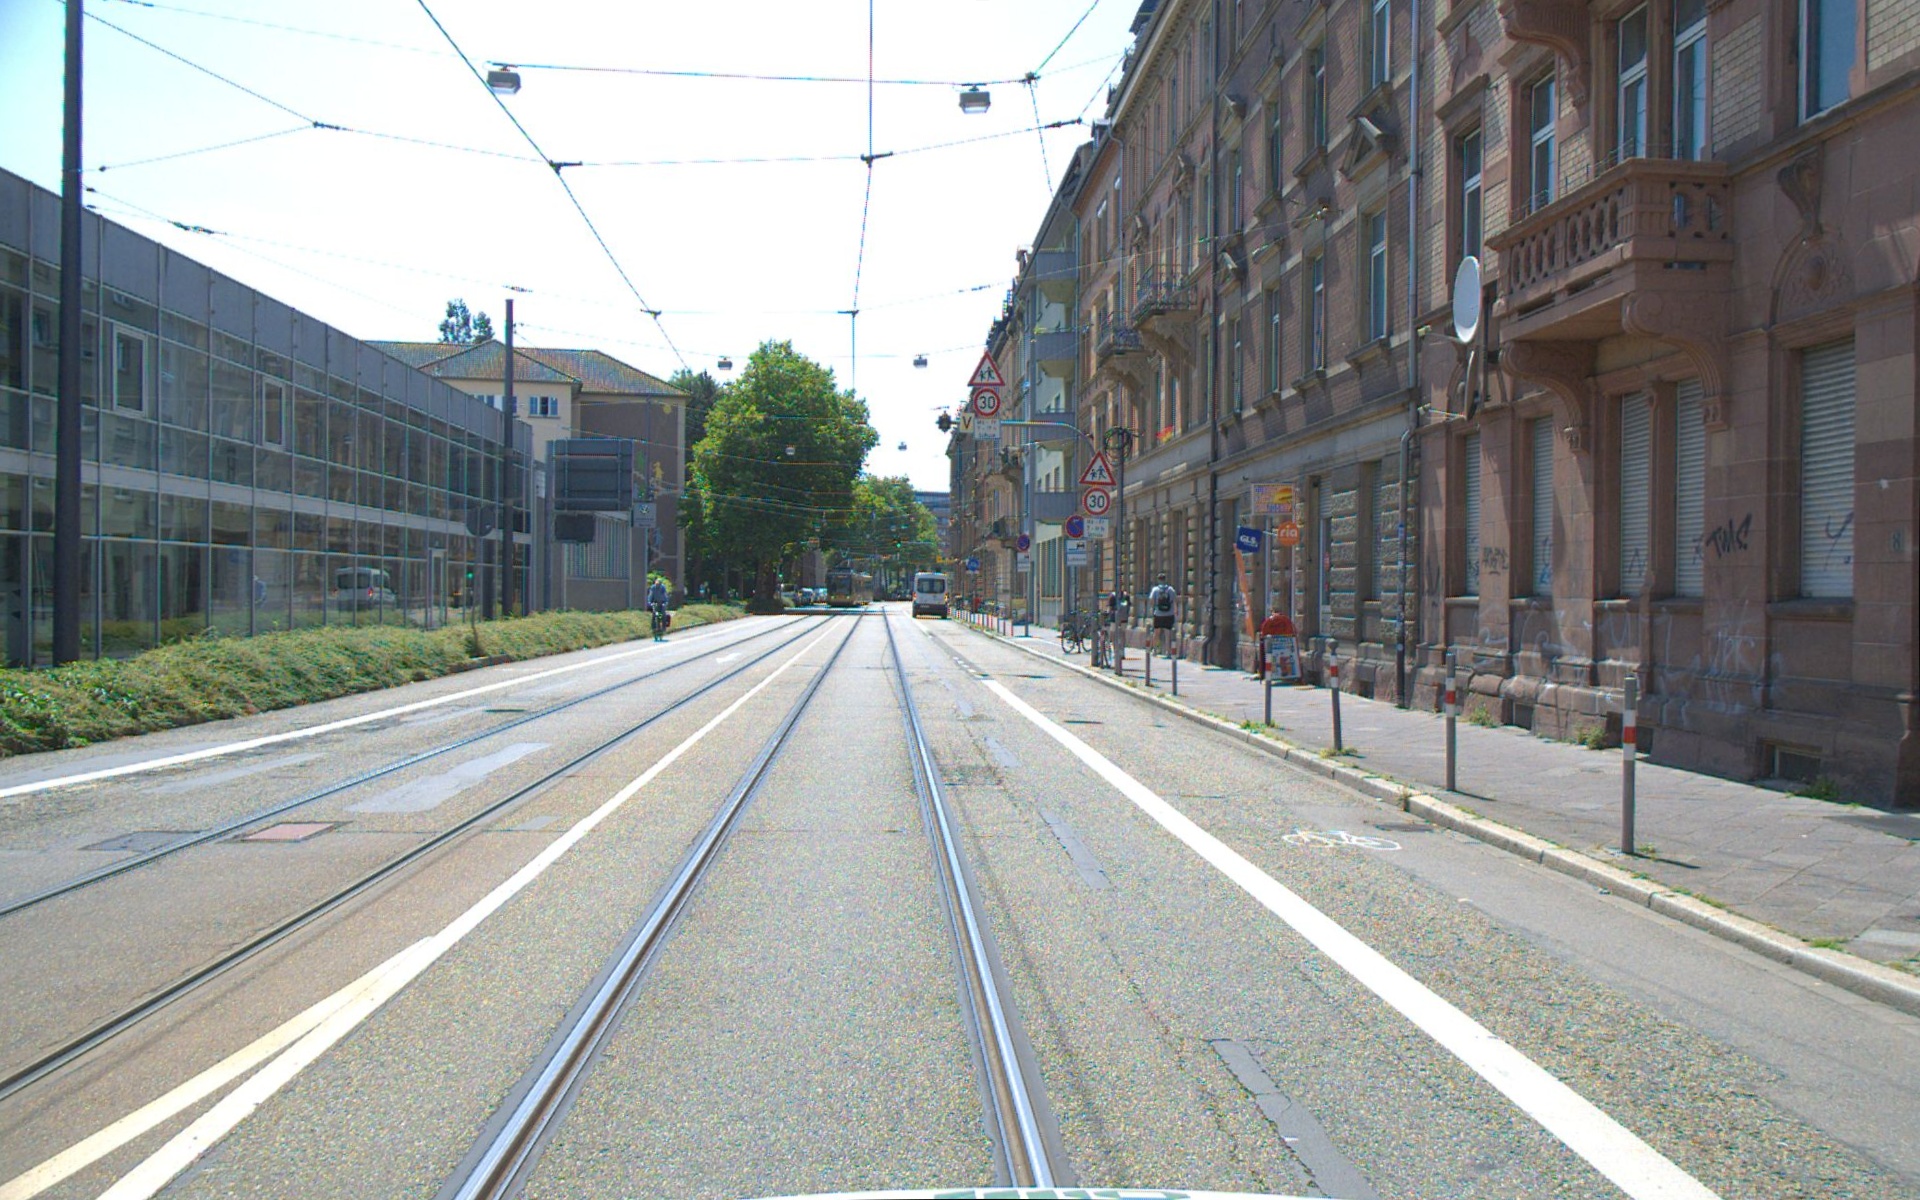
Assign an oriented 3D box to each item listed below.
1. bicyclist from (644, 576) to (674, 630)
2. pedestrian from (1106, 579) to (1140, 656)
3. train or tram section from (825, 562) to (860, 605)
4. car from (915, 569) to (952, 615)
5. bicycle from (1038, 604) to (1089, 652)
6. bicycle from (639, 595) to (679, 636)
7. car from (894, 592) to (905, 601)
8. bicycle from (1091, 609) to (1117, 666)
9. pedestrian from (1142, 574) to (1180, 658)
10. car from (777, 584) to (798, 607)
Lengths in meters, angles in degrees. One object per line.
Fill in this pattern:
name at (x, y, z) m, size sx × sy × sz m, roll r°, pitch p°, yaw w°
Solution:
bicyclist at (-8.996, 0.088, 49.442) m, size 0.683 × 1.575 × 0.980 m, roll 0°, pitch 0°, yaw 1°
pedestrian at (3.745, 0.390, 38.025) m, size 0.705 × 1.750 × 0.643 m, roll 0°, pitch 0°, yaw -2°
train or tram section at (-10.663, -1.477, 151.001) m, size 2.902 × 3.643 × 13.414 m, roll 1°, pitch 0°, yaw -3°
car at (-1.573, -0.449, 95.753) m, size 2.026 × 2.544 × 5.452 m, roll 2°, pitch 0°, yaw -2°
bicycle at (2.620, 0.697, 41.748) m, size 0.489 × 1.150 × 2.241 m, roll 0°, pitch 0°, yaw 25°
bicycle at (-8.997, 0.452, 49.515) m, size 0.683 × 1.164 × 2.496 m, roll 0°, pitch 0°, yaw 1°
car at (-9.420, -0.572, 257.504) m, size 1.498 × 1.433 × 3.486 m, roll 1°, pitch 0°, yaw -5°
bicycle at (2.949, 0.749, 34.032) m, size 0.438 × 1.116 × 2.423 m, roll 0°, pitch 0°, yaw 3°
pedestrian at (4.610, 0.358, 37.992) m, size 0.688 × 1.881 × 0.643 m, roll -3°, pitch 0°, yaw -2°
car at (-15.130, -0.375, 145.188) m, size 1.765 × 1.956 × 3.996 m, roll 1°, pitch 0°, yaw -5°
